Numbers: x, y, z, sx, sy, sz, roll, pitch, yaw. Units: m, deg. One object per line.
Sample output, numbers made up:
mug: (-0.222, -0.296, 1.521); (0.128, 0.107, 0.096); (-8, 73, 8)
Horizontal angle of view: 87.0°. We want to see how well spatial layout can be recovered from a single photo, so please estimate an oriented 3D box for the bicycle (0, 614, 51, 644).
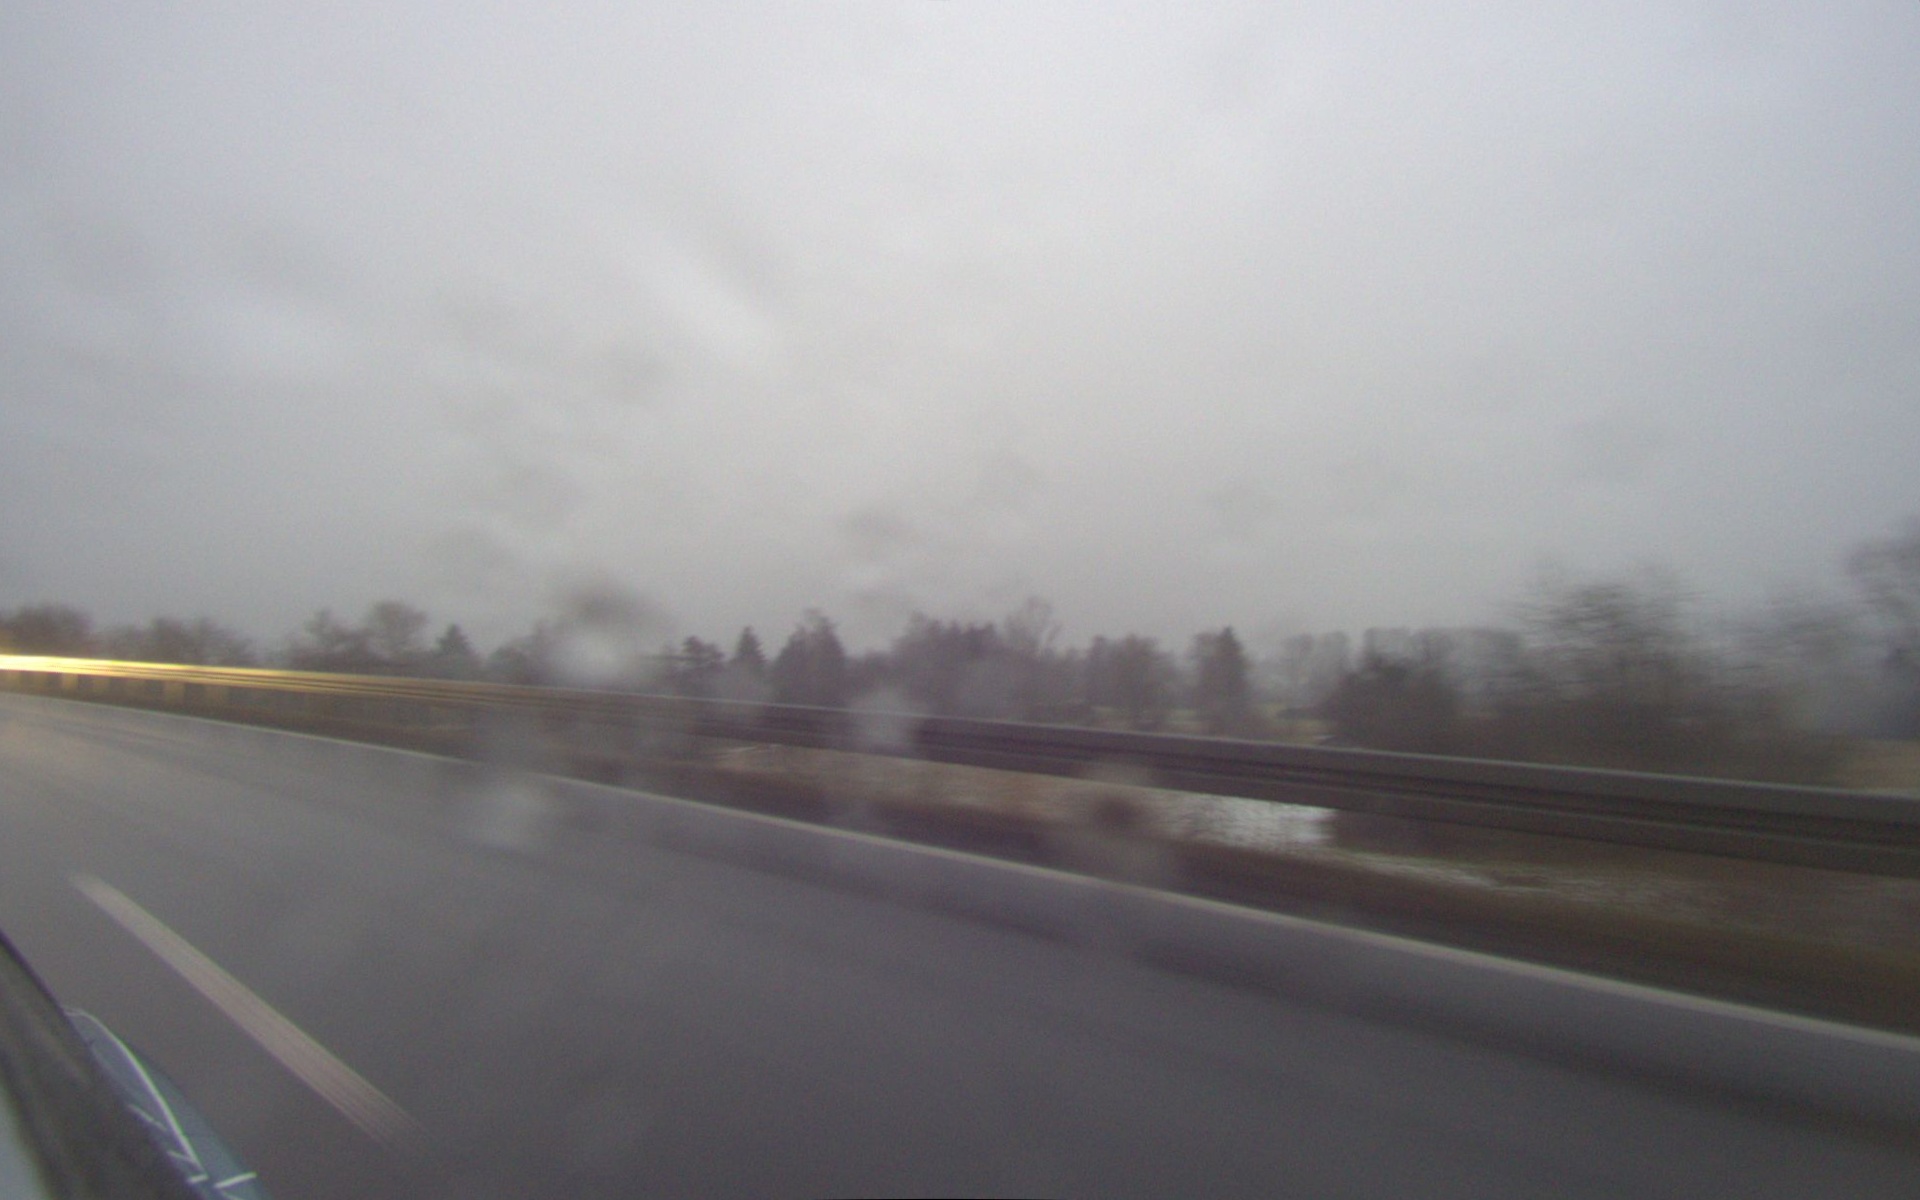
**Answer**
bicycle: (-66.383, 2.018, 71.090); (3.963, 2.029, 1.990); (-1, -1, 15)
